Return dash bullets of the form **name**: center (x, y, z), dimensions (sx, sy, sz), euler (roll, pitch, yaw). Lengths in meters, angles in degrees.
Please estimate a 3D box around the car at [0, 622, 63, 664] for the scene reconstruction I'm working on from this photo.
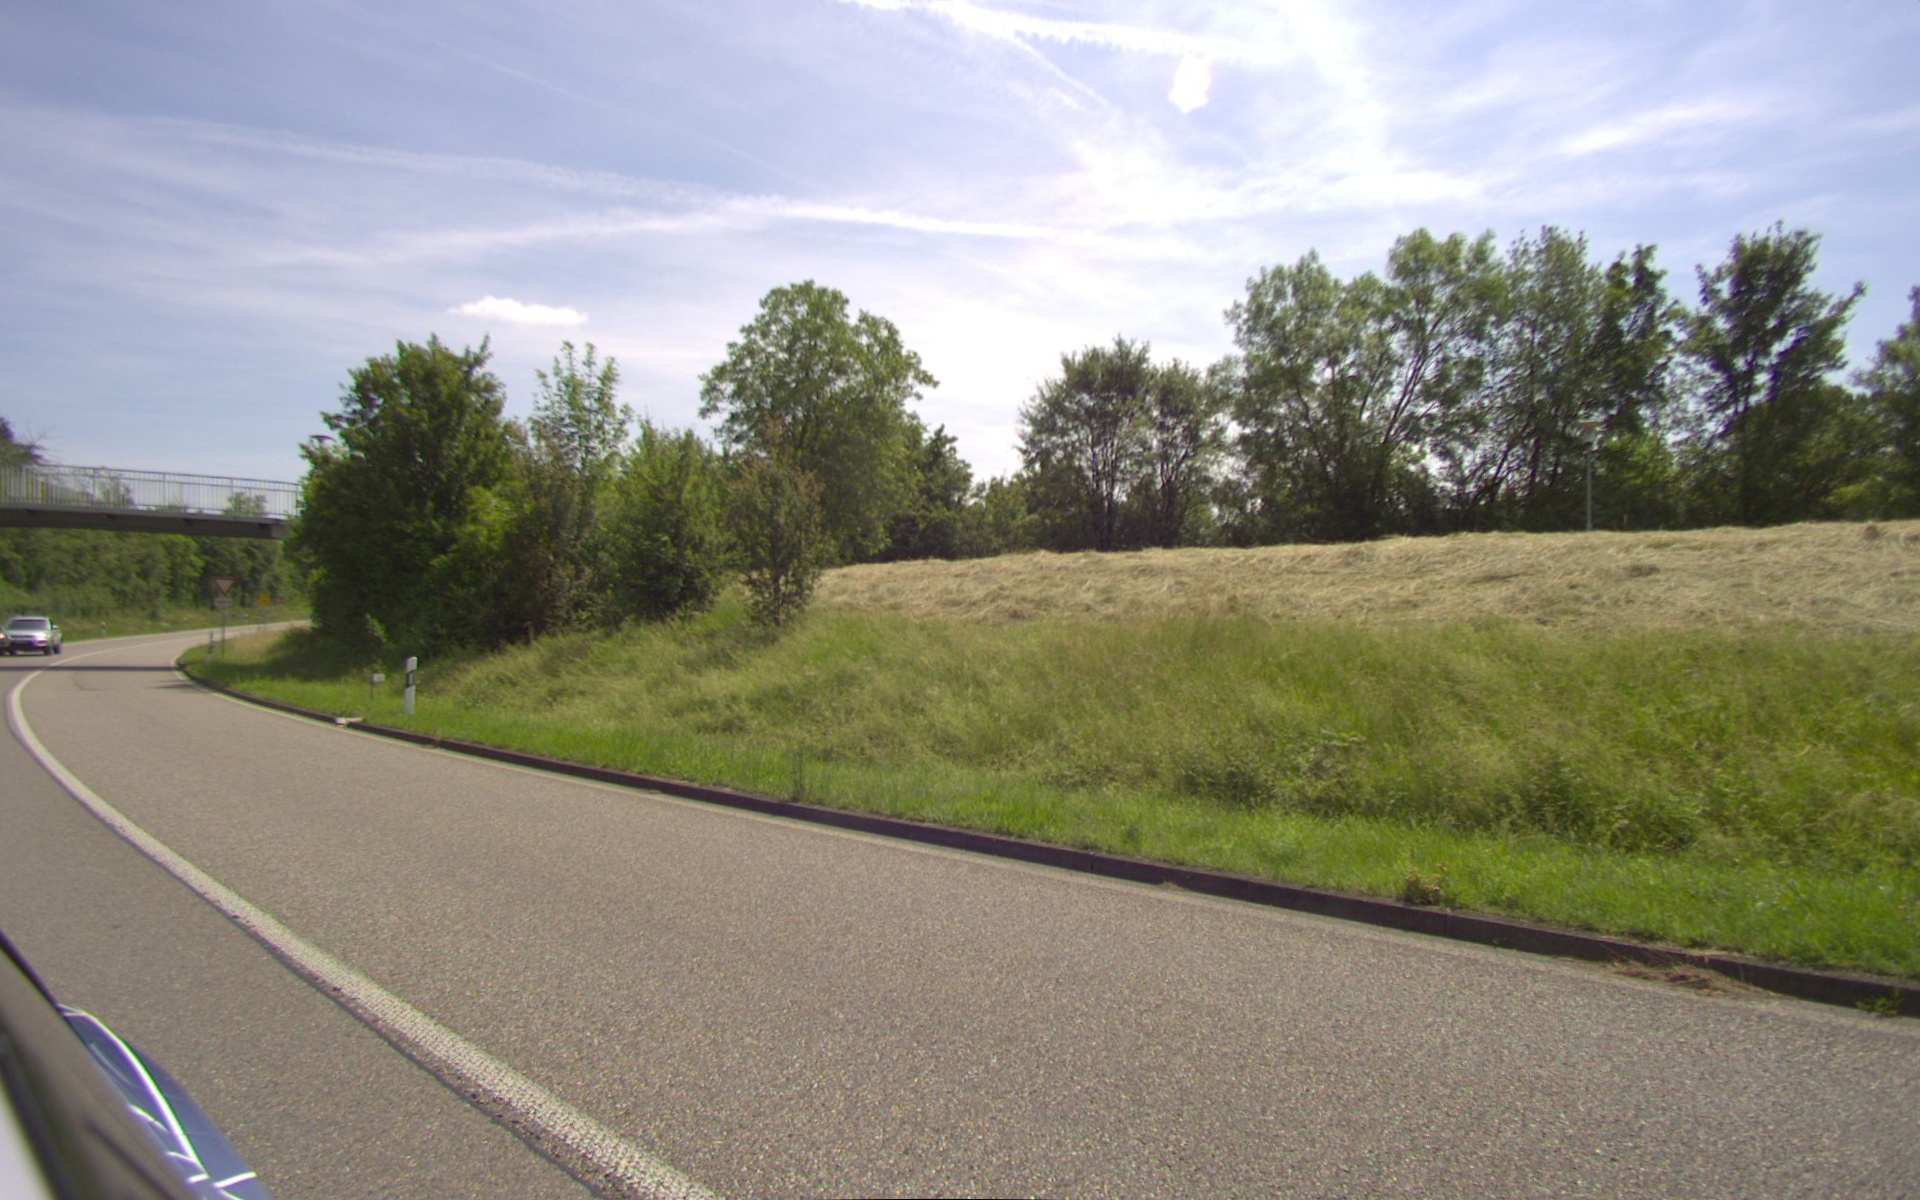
- **car**: center (-40.834, 1.827, 44.297), dimensions (1.819, 1.721, 4.100), euler (0, -1, -34)
